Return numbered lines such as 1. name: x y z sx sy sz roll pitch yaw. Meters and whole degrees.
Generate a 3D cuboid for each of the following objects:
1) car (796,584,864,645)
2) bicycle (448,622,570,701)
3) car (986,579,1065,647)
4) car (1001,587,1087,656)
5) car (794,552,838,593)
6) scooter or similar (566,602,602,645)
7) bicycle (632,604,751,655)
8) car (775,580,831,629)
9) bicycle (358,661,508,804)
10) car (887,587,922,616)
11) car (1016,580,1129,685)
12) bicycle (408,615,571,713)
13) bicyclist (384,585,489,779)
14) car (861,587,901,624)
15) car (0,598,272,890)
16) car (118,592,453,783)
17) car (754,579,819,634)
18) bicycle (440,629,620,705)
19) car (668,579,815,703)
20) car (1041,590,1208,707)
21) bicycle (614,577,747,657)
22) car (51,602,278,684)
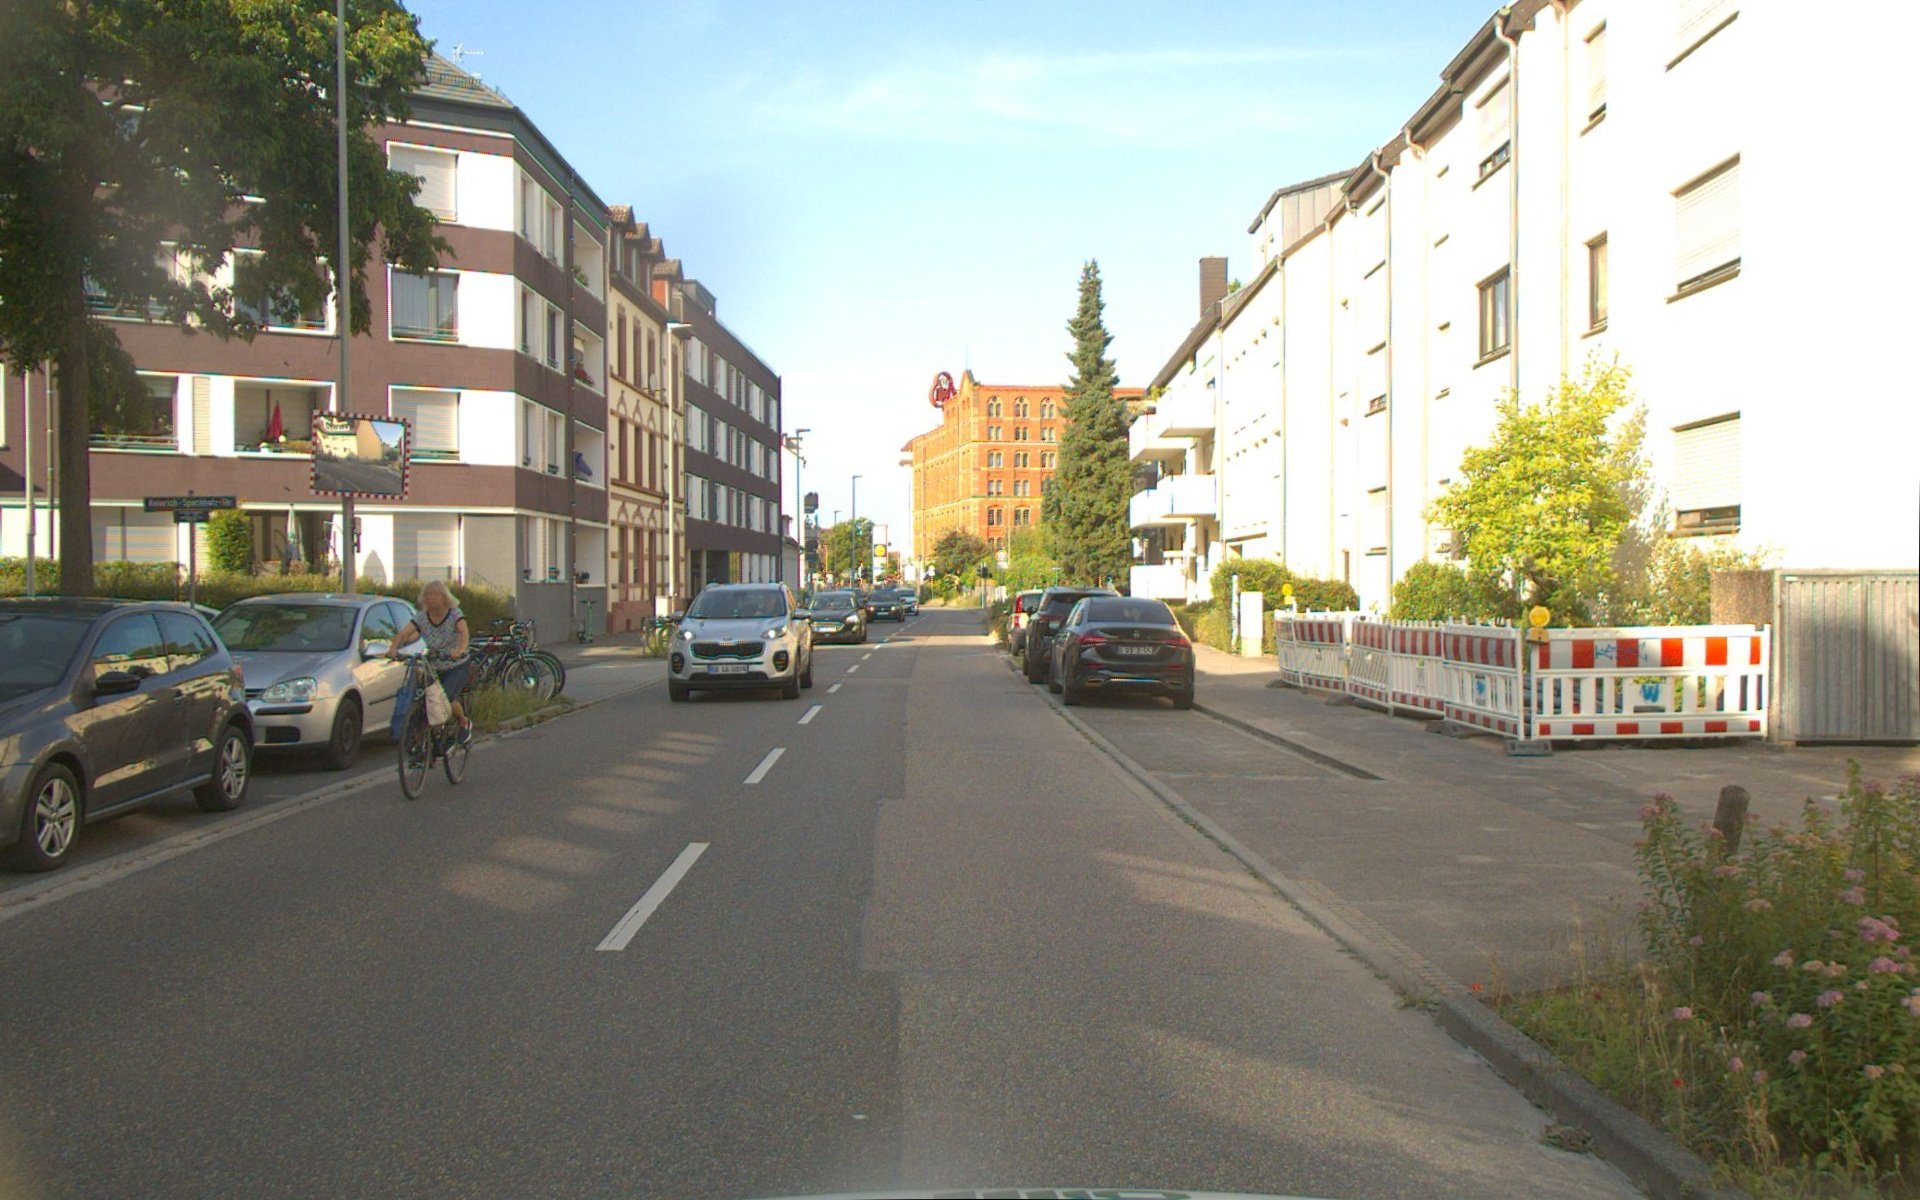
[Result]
1. car: -3.709 0.389 47.614 1.728 1.644 3.999 -1 0 -2
2. bicycle: -6.310 0.853 23.222 1.555 1.059 0.707 0 0 -7
3. car: 1.741 0.329 45.386 1.953 1.803 3.999 0 0 -1
4. car: 1.998 0.489 40.229 1.728 1.552 3.999 -1 0 -2
5. car: -7.314 -1.379 84.130 1.953 2.049 3.999 0 0 -1
6. scooter or similar: -10.412 0.640 45.832 0.621 1.123 1.610 1 0 -1
7. bicycle: -6.512 0.710 40.236 2.716 1.164 1.143 -1 0 -1
8. car: -6.430 0.172 68.157 1.953 1.941 3.999 -1 0 -1
9. bicycle: -4.055 0.990 12.851 0.596 0.959 1.811 0 0 0
10. car: -3.146 0.086 95.125 1.953 1.624 3.999 0 0 -1
11. car: 1.875 0.520 28.501 1.569 1.674 3.683 -1 0 -2
12. bicycle: -6.133 0.822 21.637 1.963 1.238 0.707 0 0 -7
13. bicyclist: -4.055 0.617 12.848 0.578 1.467 0.750 0 0 0
14. car: -3.602 0.232 76.255 1.728 1.644 3.999 -1 0 -2
15. car: -5.657 0.724 9.965 1.542 1.445 3.802 0 0 -2
16. car: -6.039 0.693 15.322 1.643 1.528 3.998 0 0 -3
17. car: -6.136 0.217 58.969 1.953 1.867 3.689 -1 0 -1
18. bicycle: -5.829 0.904 22.523 2.295 0.987 0.707 0 0 -7
19. car: -3.139 0.544 24.427 1.728 1.644 3.999 -1 0 -2
20. car: 2.235 0.620 23.431 1.821 1.497 3.998 -1 0 -2
21. bicycle: -6.473 0.388 38.465 2.858 1.808 1.202 -1 0 -1
22. car: -13.891 0.707 28.934 3.416 1.310 1.645 -1 0 -34
